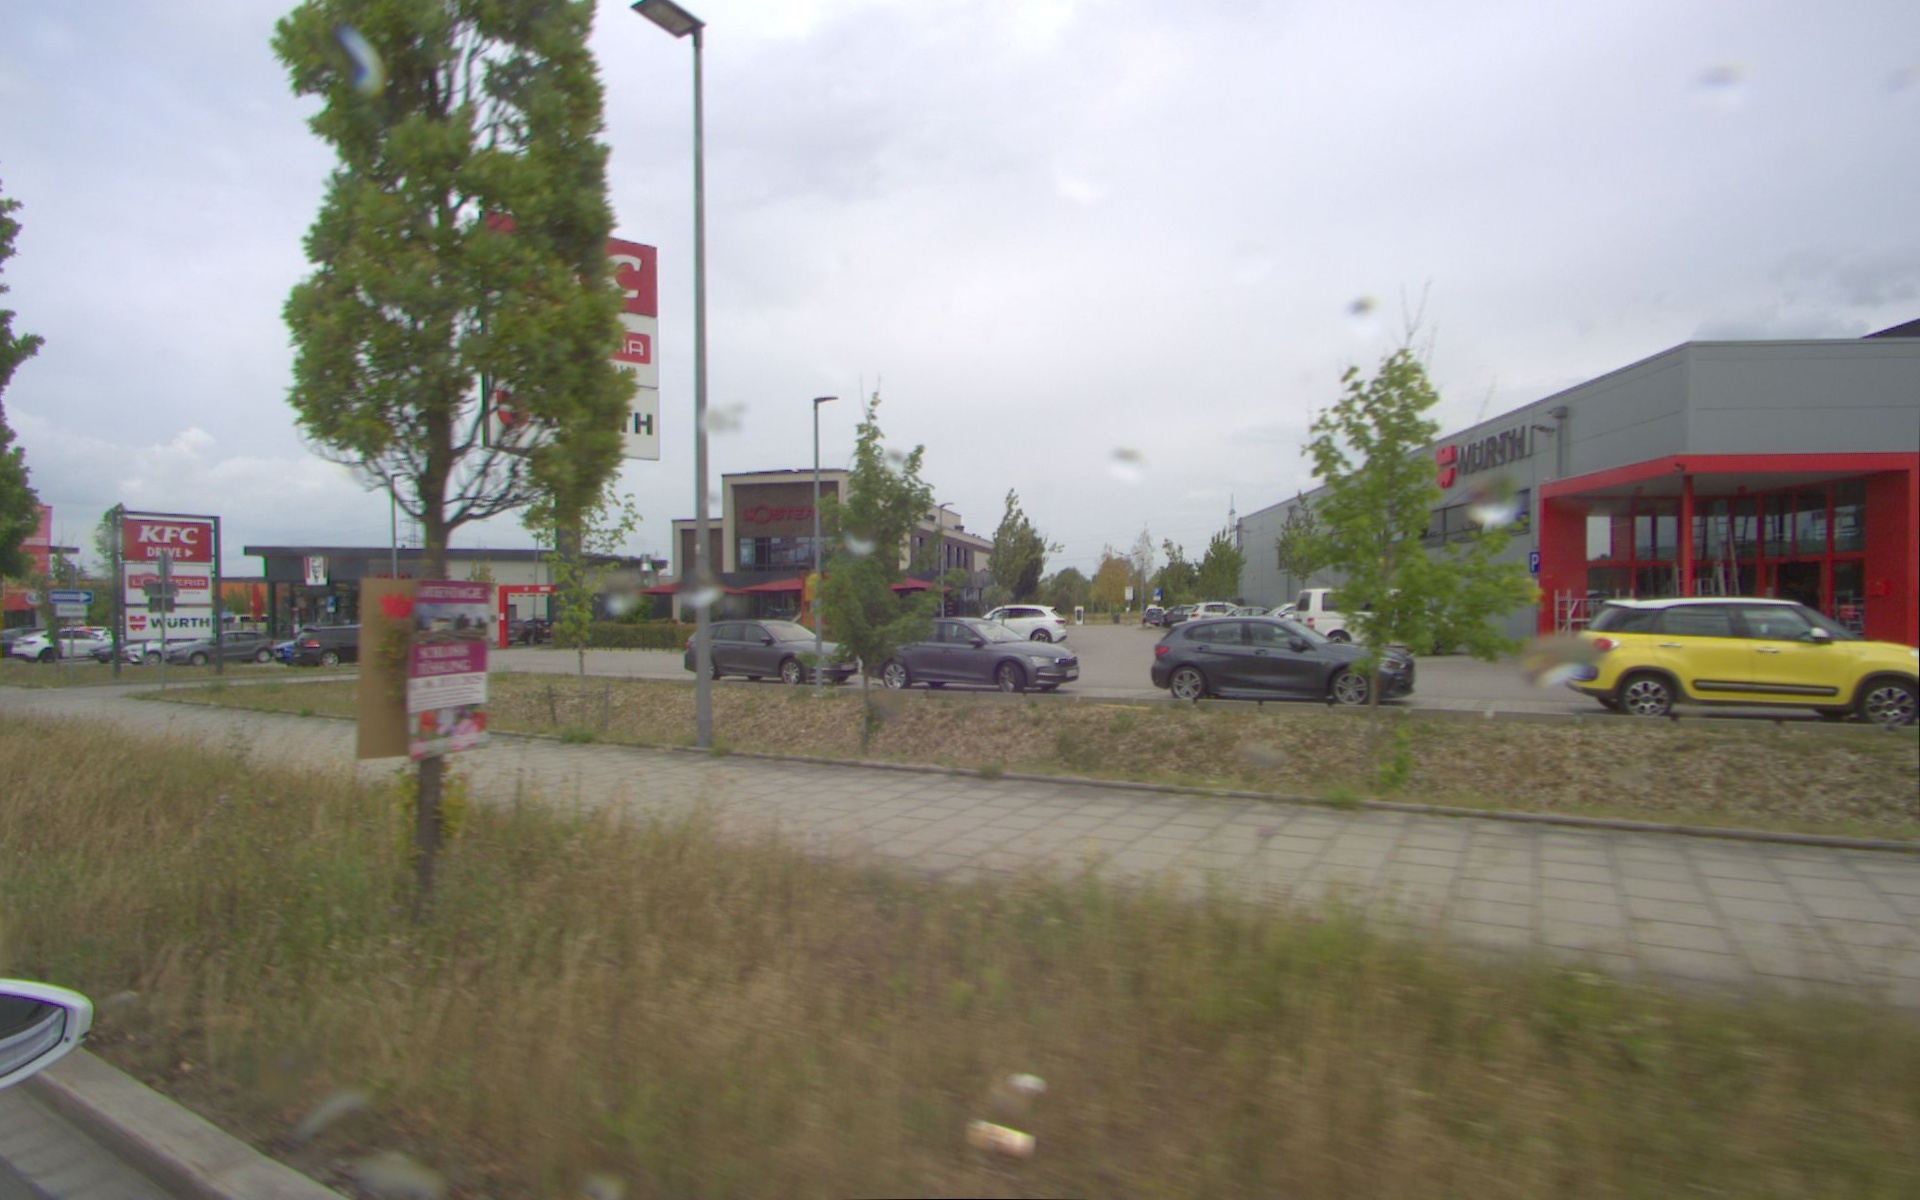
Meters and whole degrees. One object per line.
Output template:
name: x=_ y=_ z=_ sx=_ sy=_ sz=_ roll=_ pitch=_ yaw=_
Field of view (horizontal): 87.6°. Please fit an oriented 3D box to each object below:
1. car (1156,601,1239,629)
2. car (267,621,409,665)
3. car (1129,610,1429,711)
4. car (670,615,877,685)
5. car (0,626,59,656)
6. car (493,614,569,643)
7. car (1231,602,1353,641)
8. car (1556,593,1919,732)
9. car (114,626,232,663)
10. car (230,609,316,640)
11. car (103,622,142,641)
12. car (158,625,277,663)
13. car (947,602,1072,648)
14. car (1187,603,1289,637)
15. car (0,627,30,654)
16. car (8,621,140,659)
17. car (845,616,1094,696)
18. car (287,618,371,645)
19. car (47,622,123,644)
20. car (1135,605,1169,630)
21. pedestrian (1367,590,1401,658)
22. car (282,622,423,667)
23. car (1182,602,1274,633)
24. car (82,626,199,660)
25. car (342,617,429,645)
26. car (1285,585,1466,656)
car: x=13.816 y=0.853 z=58.539 sx=4.488 sy=1.539 sz=2.080 roll=-1 pitch=0 yaw=6
car: x=-23.912 y=1.608 z=38.612 sx=1.938 sy=1.540 sz=4.252 roll=-1 pitch=-1 yaw=33
car: x=5.390 y=0.988 z=17.030 sx=4.539 sy=1.516 sz=1.991 roll=-2 pitch=-1 yaw=30
car: x=-4.433 y=1.108 z=23.534 sx=4.764 sy=1.479 sz=1.957 roll=-1 pitch=0 yaw=33
car: x=-51.242 y=2.182 z=53.263 sx=1.996 sy=1.488 sz=4.523 roll=0 pitch=0 yaw=19
car: x=-25.860 y=1.700 z=60.501 sx=1.862 sy=1.539 sz=4.571 roll=-1 pitch=0 yaw=13
car: x=13.798 y=0.879 z=41.900 sx=4.488 sy=1.539 sz=2.080 roll=-1 pitch=1 yaw=6
car: x=10.765 y=0.782 z=13.626 sx=4.337 sy=1.708 sz=1.763 roll=-1 pitch=0 yaw=23
car: x=-36.182 y=2.007 z=46.131 sx=1.874 sy=1.501 sz=3.855 roll=-1 pitch=1 yaw=29
car: x=-55.405 y=1.957 z=80.879 sx=2.487 sy=2.382 sz=5.689 roll=0 pitch=0 yaw=9
car: x=-66.950 y=2.475 z=80.082 sx=1.931 sy=1.462 sz=4.191 roll=-1 pitch=-1 yaw=-34
car: x=-32.213 y=1.881 z=43.527 sx=1.862 sy=1.513 sz=3.752 roll=-1 pitch=-1 yaw=31
car: x=1.943 y=0.953 z=38.764 sx=4.699 sy=1.720 sz=2.000 roll=0 pitch=0 yaw=5
car: x=13.687 y=0.982 z=49.443 sx=4.487 sy=1.539 sz=2.080 roll=-1 pitch=0 yaw=3
car: x=-53.823 y=2.241 z=54.656 sx=1.908 sy=1.457 sz=4.090 roll=0 pitch=0 yaw=18
car: x=-44.781 y=1.990 z=50.749 sx=2.054 sy=1.667 sz=4.561 roll=-1 pitch=1 yaw=24
car: x=0.141 y=1.059 z=20.344 sx=4.808 sy=1.456 sz=1.860 roll=-1 pitch=0 yaw=31
car: x=-40.439 y=1.986 z=64.320 sx=2.009 sy=1.539 sz=4.373 roll=-1 pitch=0 yaw=13
car: x=-74.057 y=2.767 z=84.877 sx=4.676 sy=1.678 sz=1.985 roll=0 pitch=0 yaw=-37
car: x=13.122 y=1.168 z=68.593 sx=2.041 sy=1.539 sz=4.457 roll=-1 pitch=0 yaw=9
pedestrian: x=12.003 y=0.674 z=28.336 sx=0.793 sy=1.893 sz=0.609 roll=0 pitch=0 yaw=-41
car: x=-22.159 y=1.573 z=36.642 sx=1.956 sy=1.513 sz=3.974 roll=-1 pitch=-1 yaw=36
car: x=14.294 y=0.925 z=53.624 sx=4.488 sy=1.539 sz=2.080 roll=-1 pitch=0 yaw=6
car: x=-40.077 y=2.070 z=49.062 sx=1.910 sy=1.504 sz=3.983 roll=-1 pitch=0 yaw=28
car: x=-35.576 y=1.894 z=62.112 sx=2.043 sy=1.539 sz=4.570 roll=-1 pitch=0 yaw=15
car: x=12.296 y=0.616 z=29.868 sx=4.545 sy=2.013 sz=2.000 roll=0 pitch=0 yaw=3
